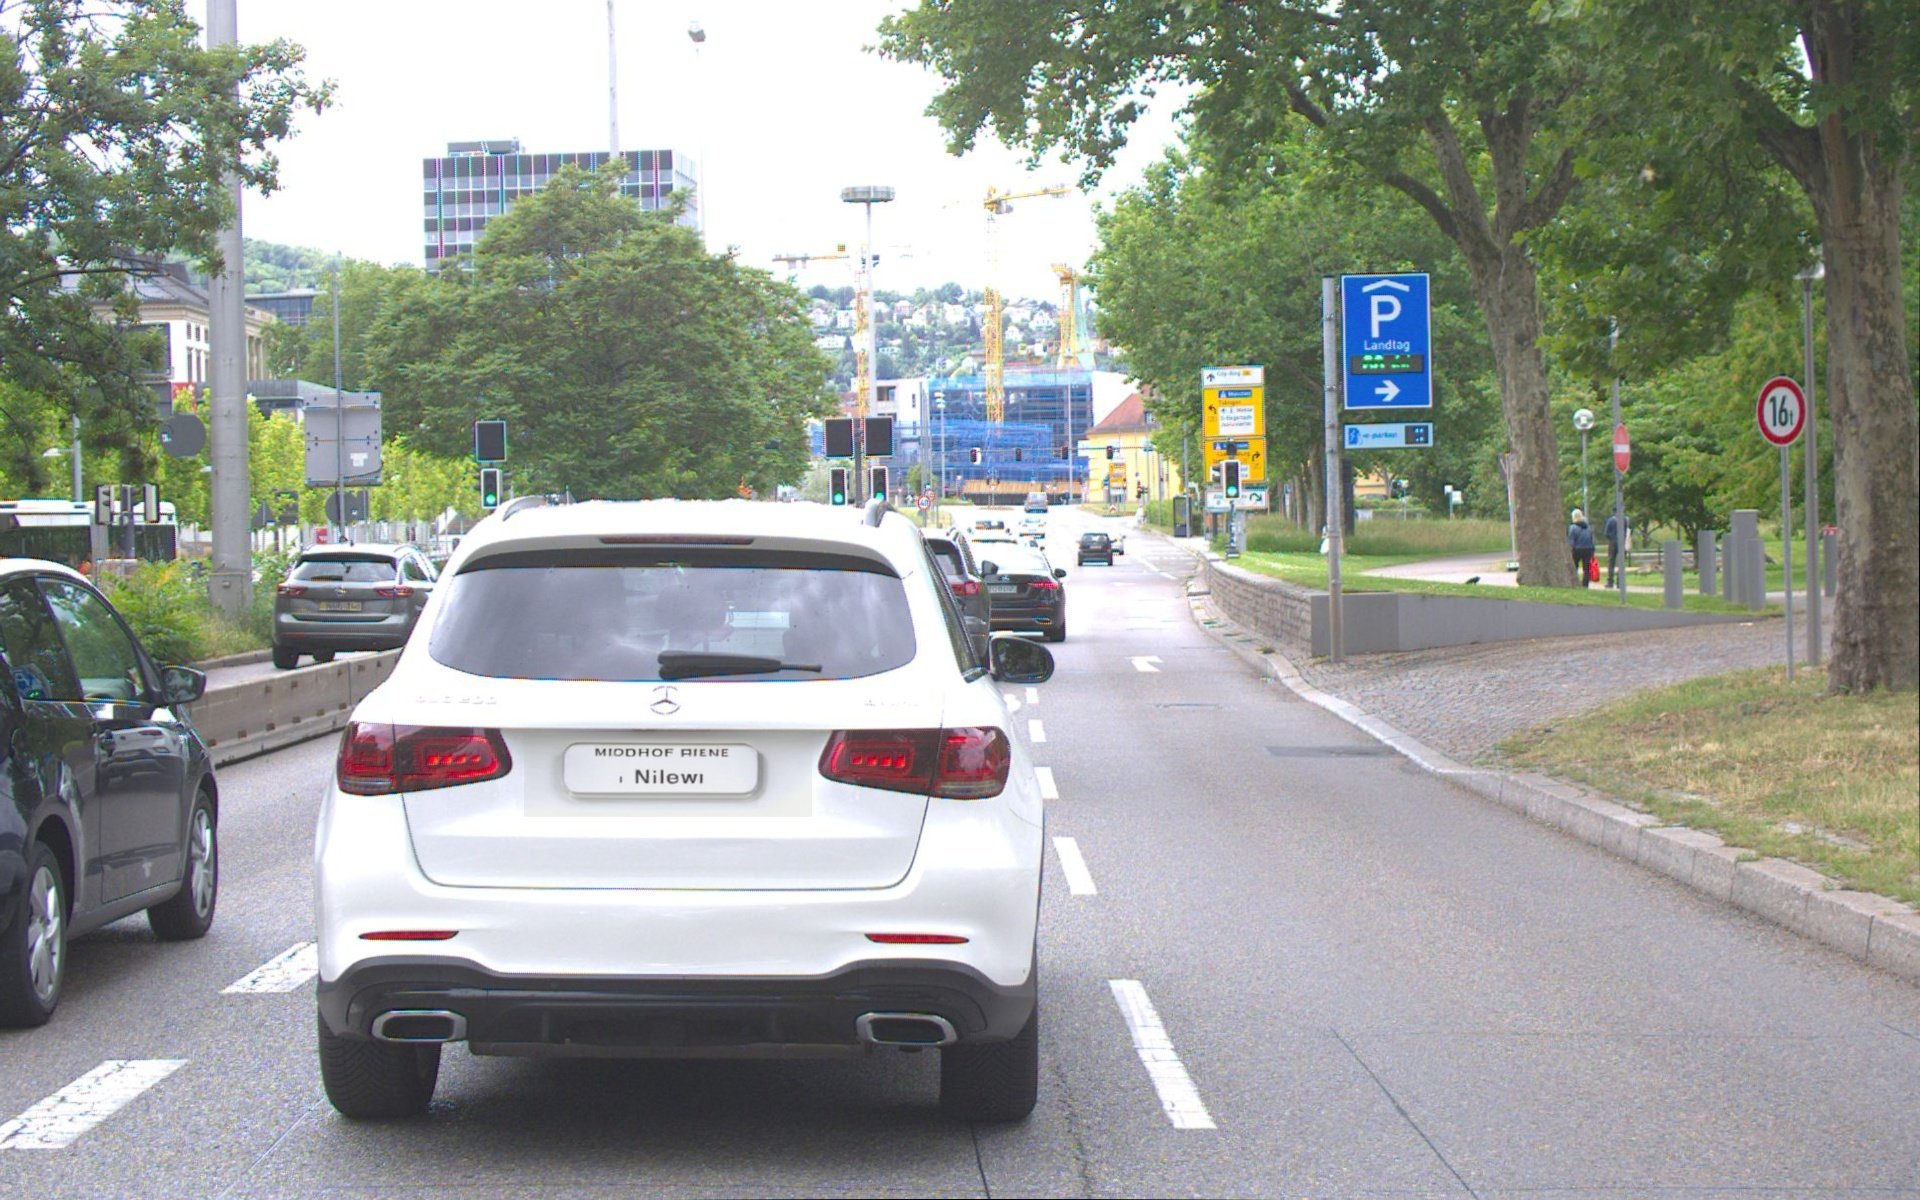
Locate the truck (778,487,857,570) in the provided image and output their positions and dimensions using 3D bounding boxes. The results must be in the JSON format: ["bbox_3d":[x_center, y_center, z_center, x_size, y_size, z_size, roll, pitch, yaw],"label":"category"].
[{"bbox_3d":[-5.016,-2.546,122.095,2.621,2.851,7.079,0,1,-1],"label":"truck"}]

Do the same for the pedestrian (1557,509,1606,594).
[{"bbox_3d":[11.760,-0.921,65.076,0.660,1.605,0.641,-1,1,-18],"label":"pedestrian"}]

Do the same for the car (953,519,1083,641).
[{"bbox_3d":[0.841,-0.334,52.143,1.825,1.746,4.000,-1,1,-1],"label":"car"}]

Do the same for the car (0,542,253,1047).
[{"bbox_3d":[-3.611,0.546,11.809,1.608,1.468,3.622,-1,1,0],"label":"car"}]

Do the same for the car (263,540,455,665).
[{"bbox_3d":[-7.160,0.007,41.280,1.661,1.431,3.960,0,1,-1],"label":"car"}]

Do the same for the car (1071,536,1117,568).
[{"bbox_3d":[6.012,-2.163,154.433,1.947,1.423,4.017,0,1,1],"label":"car"}]

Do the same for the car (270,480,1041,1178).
[{"bbox_3d":[-0.661,0.502,10.255,1.788,1.619,4.437,-1,1,1],"label":"car"}]

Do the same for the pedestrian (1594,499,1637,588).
[{"bbox_3d":[12.819,-1.110,67.221,0.759,1.719,0.698,-1,1,8],"label":"pedestrian"}]

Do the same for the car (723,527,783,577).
[{"bbox_3d":[-6.538,-1.529,108.947,1.659,1.508,3.547,-1,1,0],"label":"car"}]

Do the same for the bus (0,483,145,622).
[{"bbox_3d":[-23.806,-1.182,84.529,3.667,3.194,14.273,-1,1,2],"label":"bus"}]

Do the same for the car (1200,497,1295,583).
[{"bbox_3d":[6.894,-1.442,82.768,1.993,2.007,4.000,0,1,1],"label":"car"}]

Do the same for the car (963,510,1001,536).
[{"bbox_3d":[1.169,-4.049,180.747,1.947,1.315,4.017,0,1,1],"label":"car"}]

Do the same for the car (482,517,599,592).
[{"bbox_3d":[-8.284,-0.921,68.174,1.776,1.415,4.000,-1,1,0],"label":"car"}]

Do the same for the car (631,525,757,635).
[{"bbox_3d":[-4.084,-0.317,53.161,1.851,1.622,4.907,0,1,-4],"label":"car"}]

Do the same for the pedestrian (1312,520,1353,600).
[{"bbox_3d":[9.438,-1.004,87.105,0.761,2.007,0.697,0,1,36],"label":"pedestrian"}]

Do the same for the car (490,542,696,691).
[{"bbox_3d":[-3.699,0.132,35.220,1.797,1.432,4.021,0,1,-2],"label":"car"}]

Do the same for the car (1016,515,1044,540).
[{"bbox_3d":[4.786,-4.957,234.927,1.758,1.663,4.168,-1,1,0],"label":"car"}]

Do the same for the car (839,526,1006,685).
[{"bbox_3d":[-0.449,0.018,37.272,1.659,1.633,3.548,0,1,-3],"label":"car"}]

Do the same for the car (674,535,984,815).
[{"bbox_3d":[-0.940,0.428,22.532,1.795,1.603,3.755,-2,1,-5],"label":"car"}]
